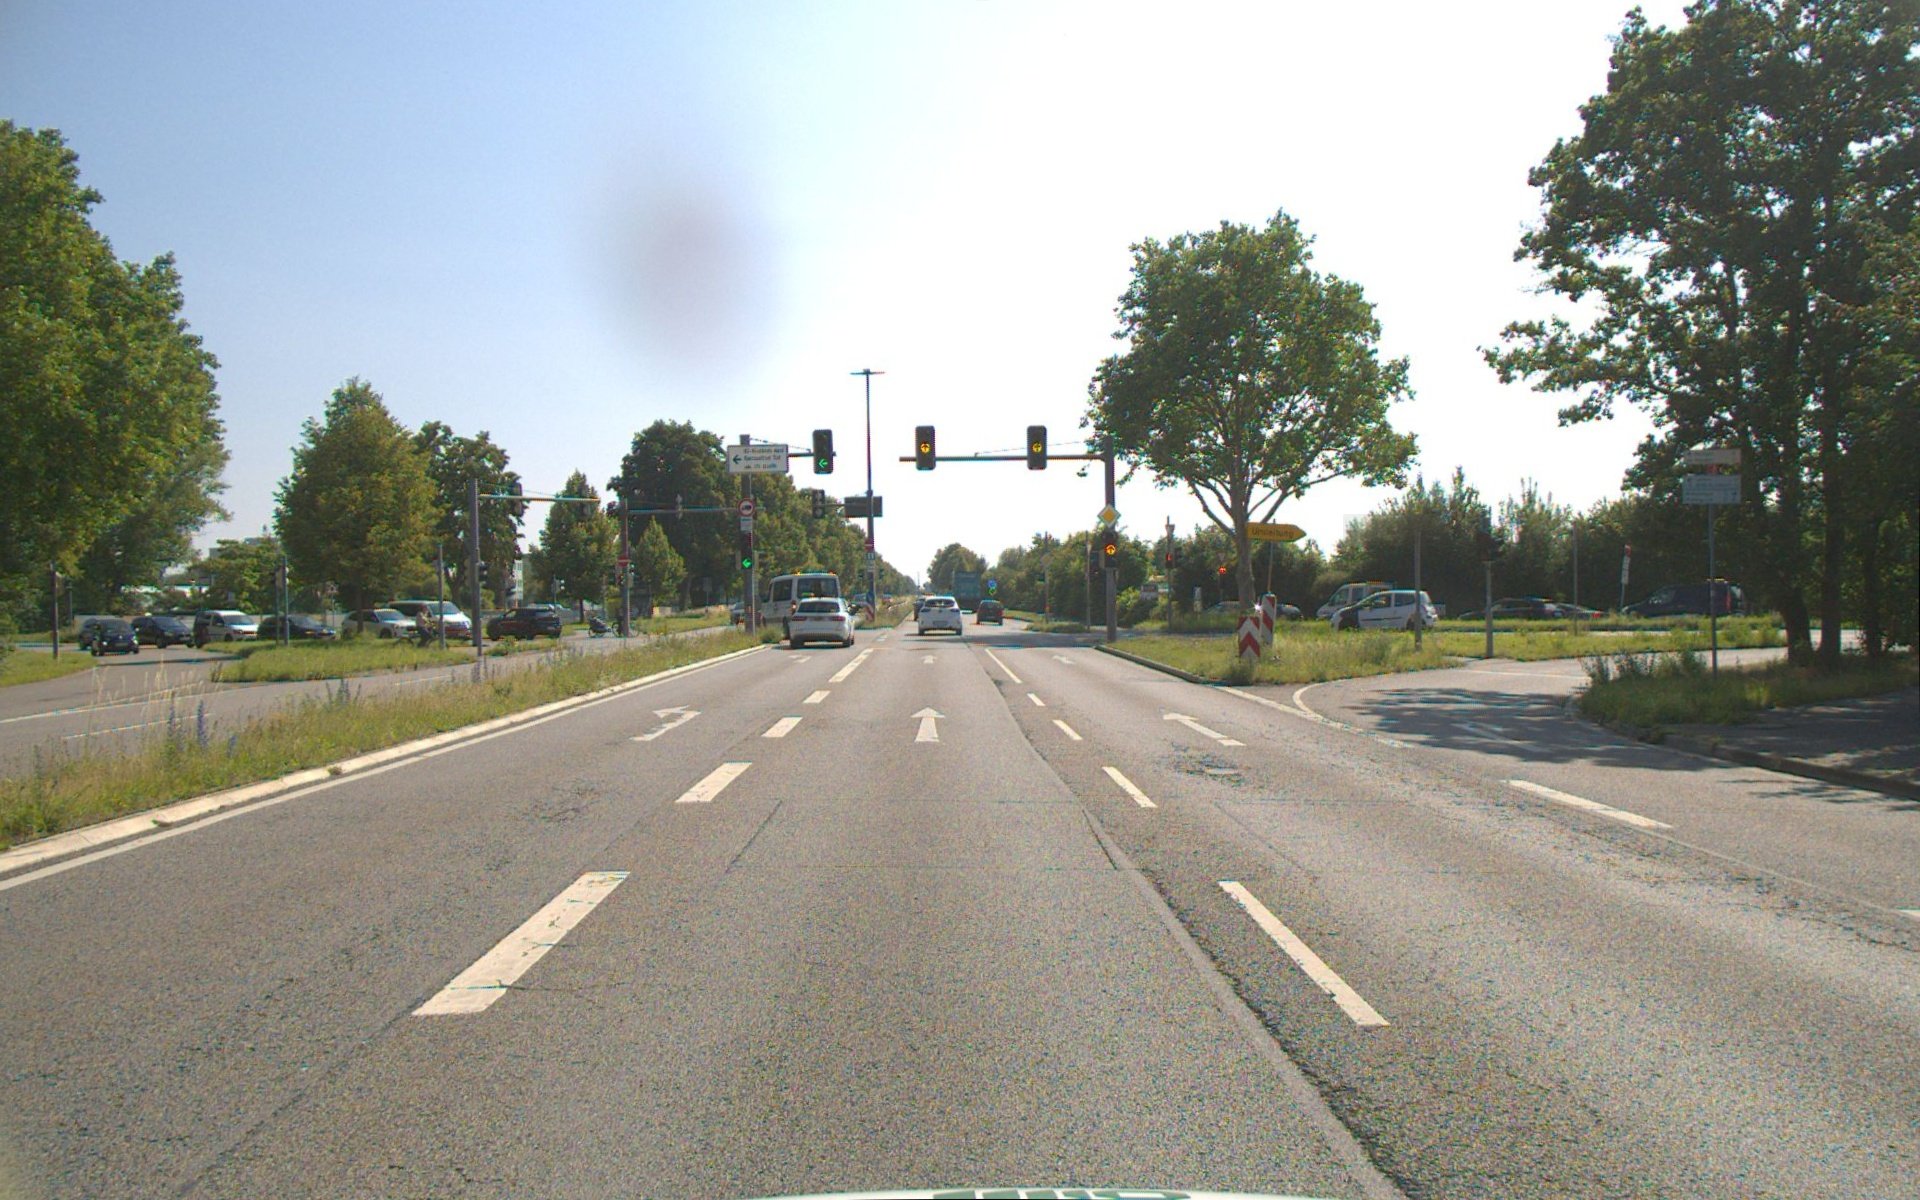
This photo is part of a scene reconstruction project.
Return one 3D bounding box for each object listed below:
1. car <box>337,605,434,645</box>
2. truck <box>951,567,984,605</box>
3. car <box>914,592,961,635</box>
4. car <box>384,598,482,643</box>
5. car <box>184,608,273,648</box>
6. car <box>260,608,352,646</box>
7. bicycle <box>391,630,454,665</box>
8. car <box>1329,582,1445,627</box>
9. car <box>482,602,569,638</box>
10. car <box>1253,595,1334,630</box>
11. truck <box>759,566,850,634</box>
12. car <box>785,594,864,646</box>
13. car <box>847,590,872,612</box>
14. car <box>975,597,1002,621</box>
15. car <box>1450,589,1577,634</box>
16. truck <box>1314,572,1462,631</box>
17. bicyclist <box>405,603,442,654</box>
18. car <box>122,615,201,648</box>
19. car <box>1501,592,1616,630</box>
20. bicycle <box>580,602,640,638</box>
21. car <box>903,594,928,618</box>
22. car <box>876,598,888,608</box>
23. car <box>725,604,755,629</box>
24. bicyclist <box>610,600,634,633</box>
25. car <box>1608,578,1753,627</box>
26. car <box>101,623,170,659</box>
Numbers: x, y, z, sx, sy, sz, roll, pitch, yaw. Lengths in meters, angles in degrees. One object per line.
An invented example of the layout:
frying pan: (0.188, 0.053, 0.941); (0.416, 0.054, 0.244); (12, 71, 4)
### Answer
car: (-25.682, 1.126, 73.908); (4.180, 1.634, 1.998); (-2, 0, 35)
truck: (0.654, -1.318, 156.056); (2.833, 3.488, 9.167); (-1, 0, -1)
car: (-0.838, 0.491, 64.309); (1.762, 1.580, 4.000); (0, 1, 0)
car: (-24.734, 0.980, 77.559); (4.559, 1.984, 1.994); (-1, 0, 34)
car: (-36.033, 1.376, 81.432); (4.415, 1.832, 1.998); (-2, 0, 35)
car: (-30.635, 1.269, 77.427); (4.180, 1.634, 1.998); (-2, 0, 35)
bicycle: (-16.491, 1.453, 50.762); (1.640, 1.060, 0.747); (0, 0, 4)
car: (14.680, 0.159, 56.838); (3.667, 1.495, 1.785); (-1, 0, 23)
car: (-20.662, 0.935, 78.620); (3.917, 1.678, 1.908); (0, 0, 34)
car: (15.618, 0.576, 77.587); (1.599, 1.574, 3.785); (2, -1, -31)
truck: (-6.049, -0.021, 63.426); (2.336, 2.430, 6.013); (-1, 1, -17)
car: (-4.110, 0.582, 50.925); (1.774, 1.490, 4.972); (-1, 0, 3)
car: (-7.977, 0.066, 131.246); (1.809, 1.622, 4.615); (-1, 0, -2)
car: (1.727, 0.552, 100.558); (1.540, 1.439, 3.277); (0, -1, -1)
car: (21.459, 0.428, 64.274); (1.869, 1.663, 4.405); (2, -1, -39)
truck: (18.706, 0.085, 72.631); (2.317, 2.428, 6.399); (2, -2, -33)
bicyclist: (-16.463, 0.863, 50.760); (0.829, 1.544, 0.747); (0, 0, 4)
car: (-40.994, 1.625, 84.888); (4.041, 1.538, 1.913); (-2, 0, 35)
car: (23.959, 0.472, 66.308); (1.873, 1.445, 3.943); (2, -2, -39)
bicycle: (-17.220, 0.982, 81.370); (2.737, 1.699, 1.135); (-1, 0, 26)
car: (-2.787, 0.363, 104.480); (1.540, 1.439, 3.277); (-1, 0, -1)
car: (-11.906, 0.436, 252.545); (1.874, 1.528, 4.089); (-1, 0, -2)
car: (-14.108, 1.049, 106.212); (1.456, 1.439, 3.761); (-3, 0, -1)
bicyclist: (-16.562, 0.802, 81.015); (0.845, 1.647, 0.757); (0, -1, 27)
car: (25.690, 0.097, 59.042); (4.391, 1.663, 1.874); (0, -1, 43)
car: (-37.801, 1.865, 75.769); (1.980, 1.521, 4.225); (-3, 1, -38)
